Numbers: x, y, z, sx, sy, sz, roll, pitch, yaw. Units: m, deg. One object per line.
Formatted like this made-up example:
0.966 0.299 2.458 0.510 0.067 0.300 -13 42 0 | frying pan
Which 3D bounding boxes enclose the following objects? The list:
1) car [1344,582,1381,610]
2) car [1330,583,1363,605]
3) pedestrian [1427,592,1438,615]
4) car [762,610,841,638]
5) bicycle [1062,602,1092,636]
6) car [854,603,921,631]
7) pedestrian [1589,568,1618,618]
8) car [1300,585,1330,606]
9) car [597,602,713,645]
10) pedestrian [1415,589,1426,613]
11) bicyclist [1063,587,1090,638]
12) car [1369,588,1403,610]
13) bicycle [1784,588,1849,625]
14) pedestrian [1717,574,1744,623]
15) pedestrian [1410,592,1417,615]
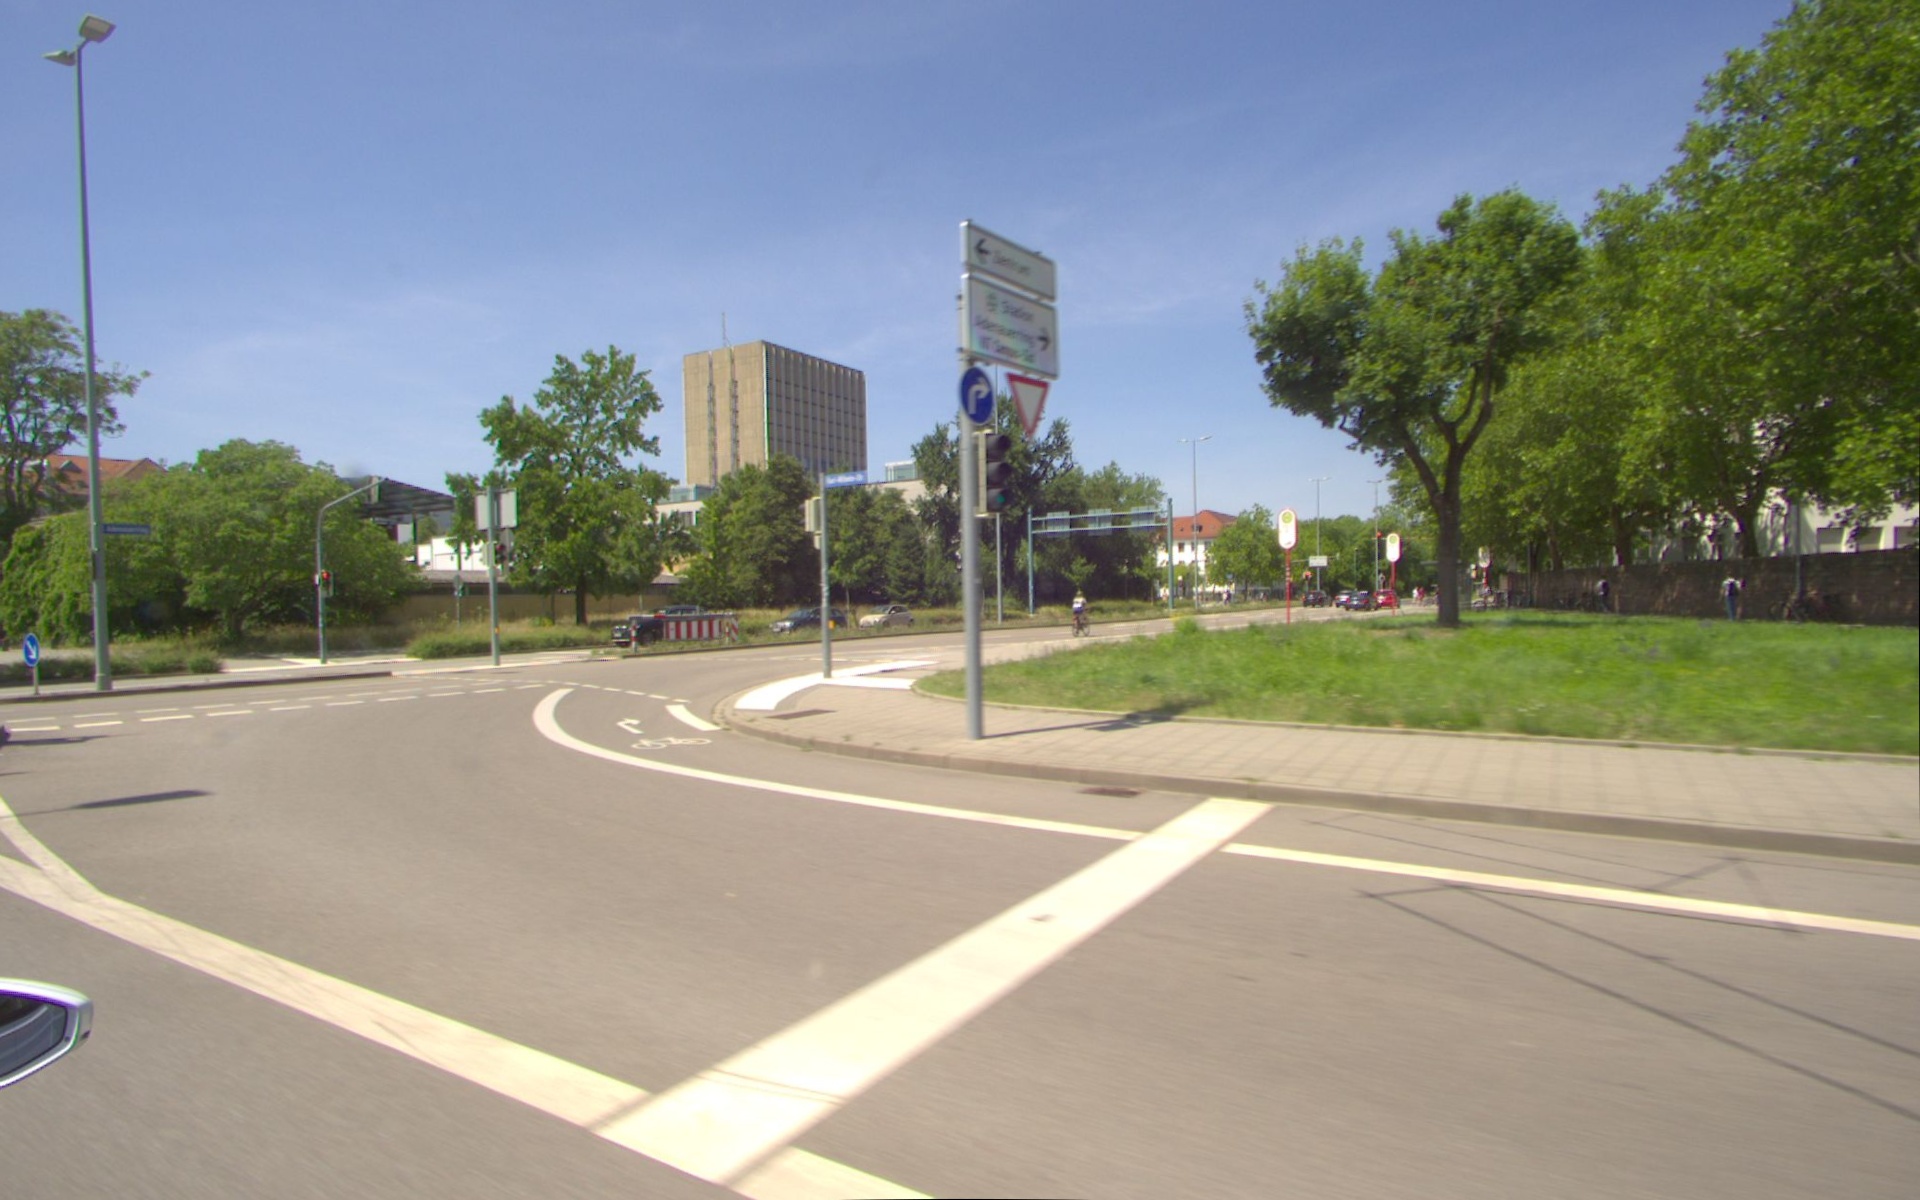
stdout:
31.308 -0.268 77.828 1.972 2.039 4.192 -1 -2 33 | car
33.468 -0.505 86.590 1.758 1.705 3.977 -1 -2 35 | car
41.535 0.331 88.015 0.778 2.039 0.836 0 -1 32 | pedestrian
-7.821 1.216 49.705 1.734 1.327 3.981 -1 -2 31 | car
4.450 0.720 37.847 0.512 1.253 2.186 0 -1 24 | bicycle
-3.978 0.959 55.293 1.734 1.457 3.981 -1 -2 31 | car
30.436 -0.322 47.378 0.834 2.320 1.074 0 -1 15 | pedestrian
31.199 -0.356 87.835 1.752 1.690 3.982 -1 -2 31 | car
-12.807 0.963 42.301 1.688 1.607 4.523 -1 1 37 | car
40.662 0.094 88.345 0.778 2.039 0.959 0 -1 32 | pedestrian
4.409 0.473 37.888 0.697 1.911 1.136 0 -1 23 | bicyclist
35.166 -0.063 82.621 1.758 1.705 3.977 -1 -2 35 | car
28.611 0.232 33.498 0.449 1.197 2.170 0 -1 4 | bicycle
28.052 -0.053 36.443 0.578 1.743 0.526 0 -1 8 | pedestrian
39.807 0.326 87.881 0.542 2.039 0.533 0 -1 33 | pedestrian
